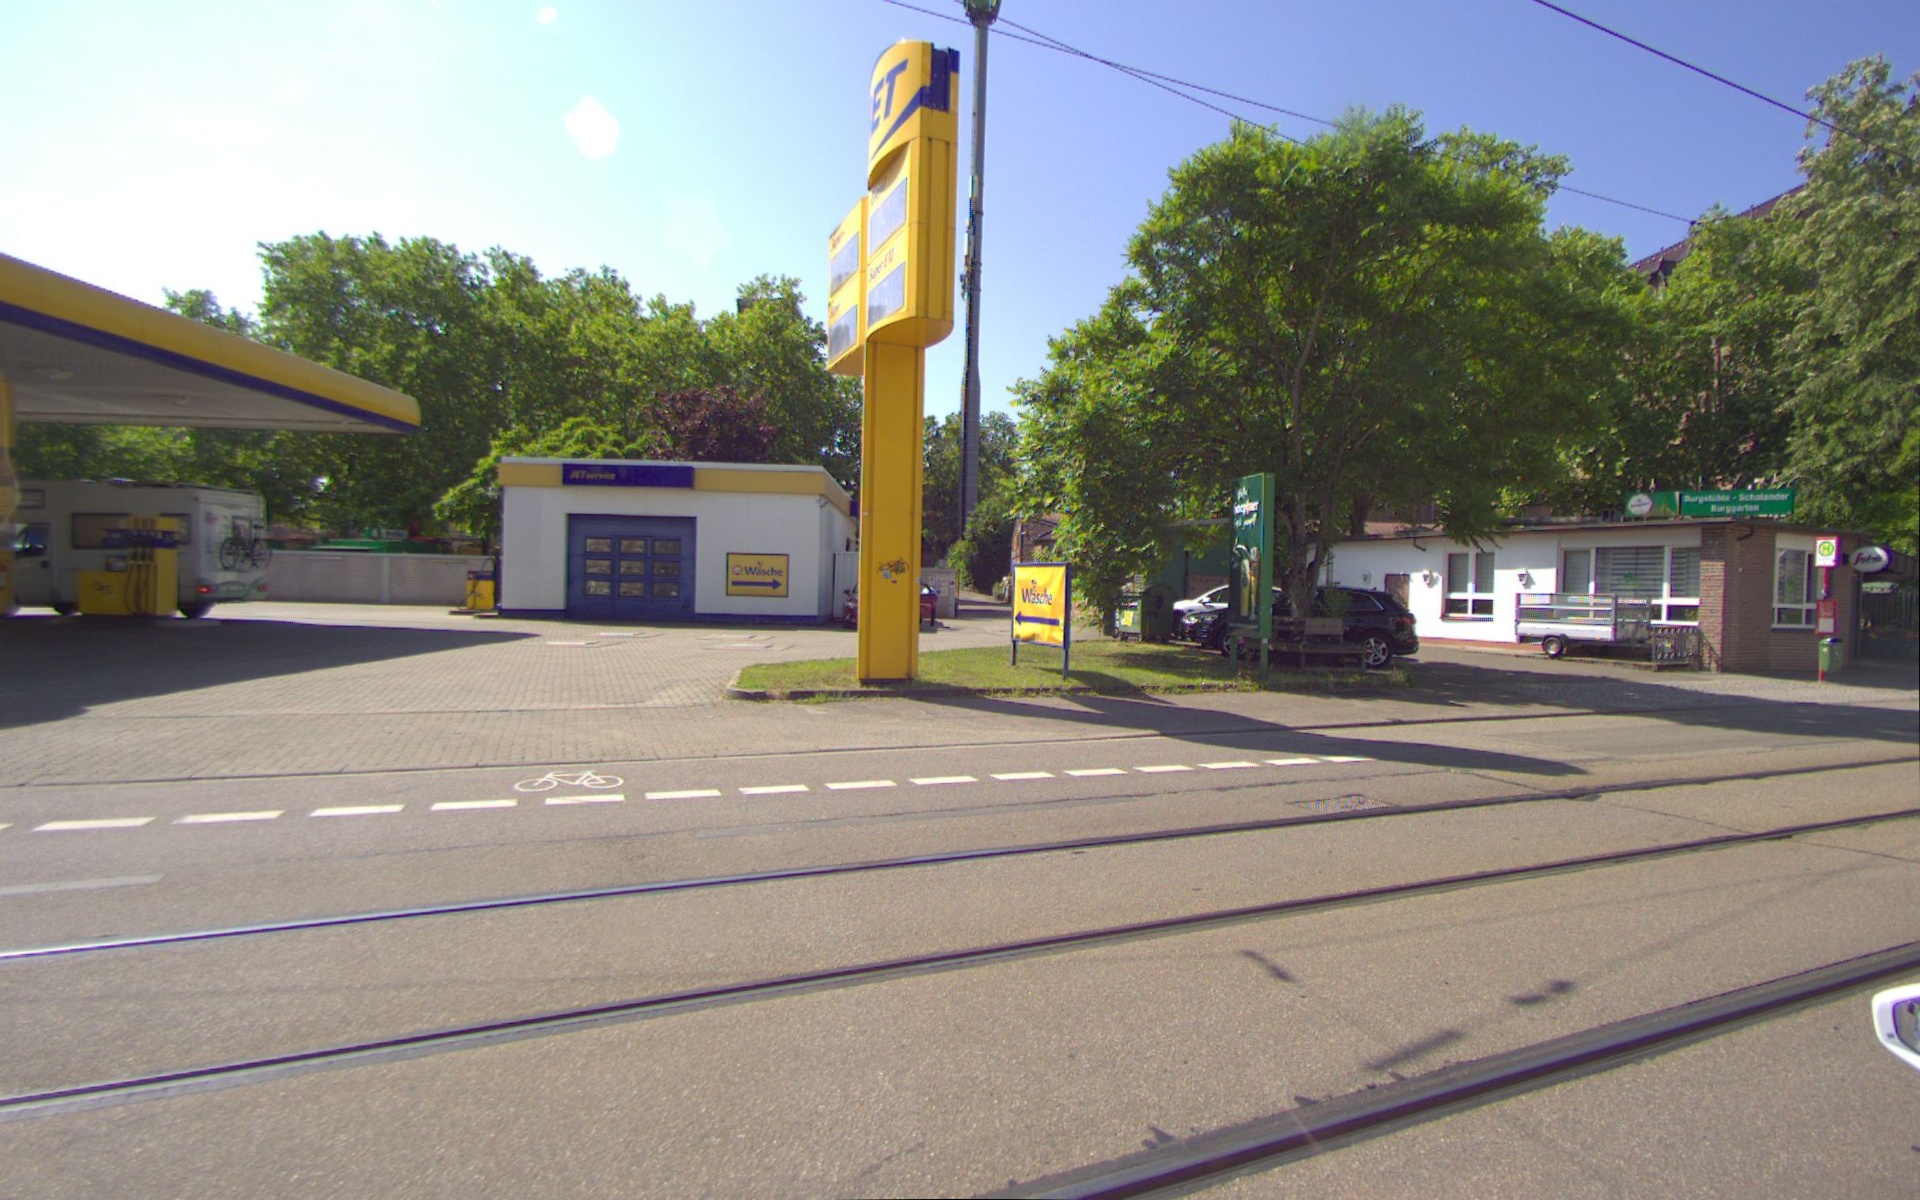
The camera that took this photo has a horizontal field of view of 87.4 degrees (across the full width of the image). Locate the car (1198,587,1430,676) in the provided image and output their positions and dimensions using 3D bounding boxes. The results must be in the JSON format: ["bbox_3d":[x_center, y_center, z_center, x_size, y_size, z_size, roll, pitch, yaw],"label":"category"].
[{"bbox_3d":[7.582,0.618,21.804,4.488,1.647,1.949,2,1,19],"label":"car"}]

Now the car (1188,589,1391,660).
[{"bbox_3d":[7.993,0.549,24.584,4.488,1.487,1.949,2,1,19],"label":"car"}]

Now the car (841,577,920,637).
[{"bbox_3d":[-2.244,0.167,29.286,1.899,1.547,4.171,2,1,0],"label":"car"}]

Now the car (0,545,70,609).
[{"bbox_3d":[-29.872,-0.794,30.283,4.388,1.786,1.778,3,2,-2],"label":"car"}]

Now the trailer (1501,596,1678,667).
[{"bbox_3d":[15.304,0.722,24.576,1.753,1.546,3.206,1,1,-24],"label":"trailer"}]

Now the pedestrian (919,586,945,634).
[{"bbox_3d":[-0.878,0.303,31.720,0.629,1.488,0.676,1,1,-17],"label":"pedestrian"}]

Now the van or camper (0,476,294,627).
[{"bbox_3d":[-19.378,-1.148,22.830,6.584,3.007,2.614,3,3,-4],"label":"van or camper"}]

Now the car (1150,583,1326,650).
[{"bbox_3d":[7.654,0.421,27.669,4.488,1.604,1.949,2,1,20],"label":"car"}]
